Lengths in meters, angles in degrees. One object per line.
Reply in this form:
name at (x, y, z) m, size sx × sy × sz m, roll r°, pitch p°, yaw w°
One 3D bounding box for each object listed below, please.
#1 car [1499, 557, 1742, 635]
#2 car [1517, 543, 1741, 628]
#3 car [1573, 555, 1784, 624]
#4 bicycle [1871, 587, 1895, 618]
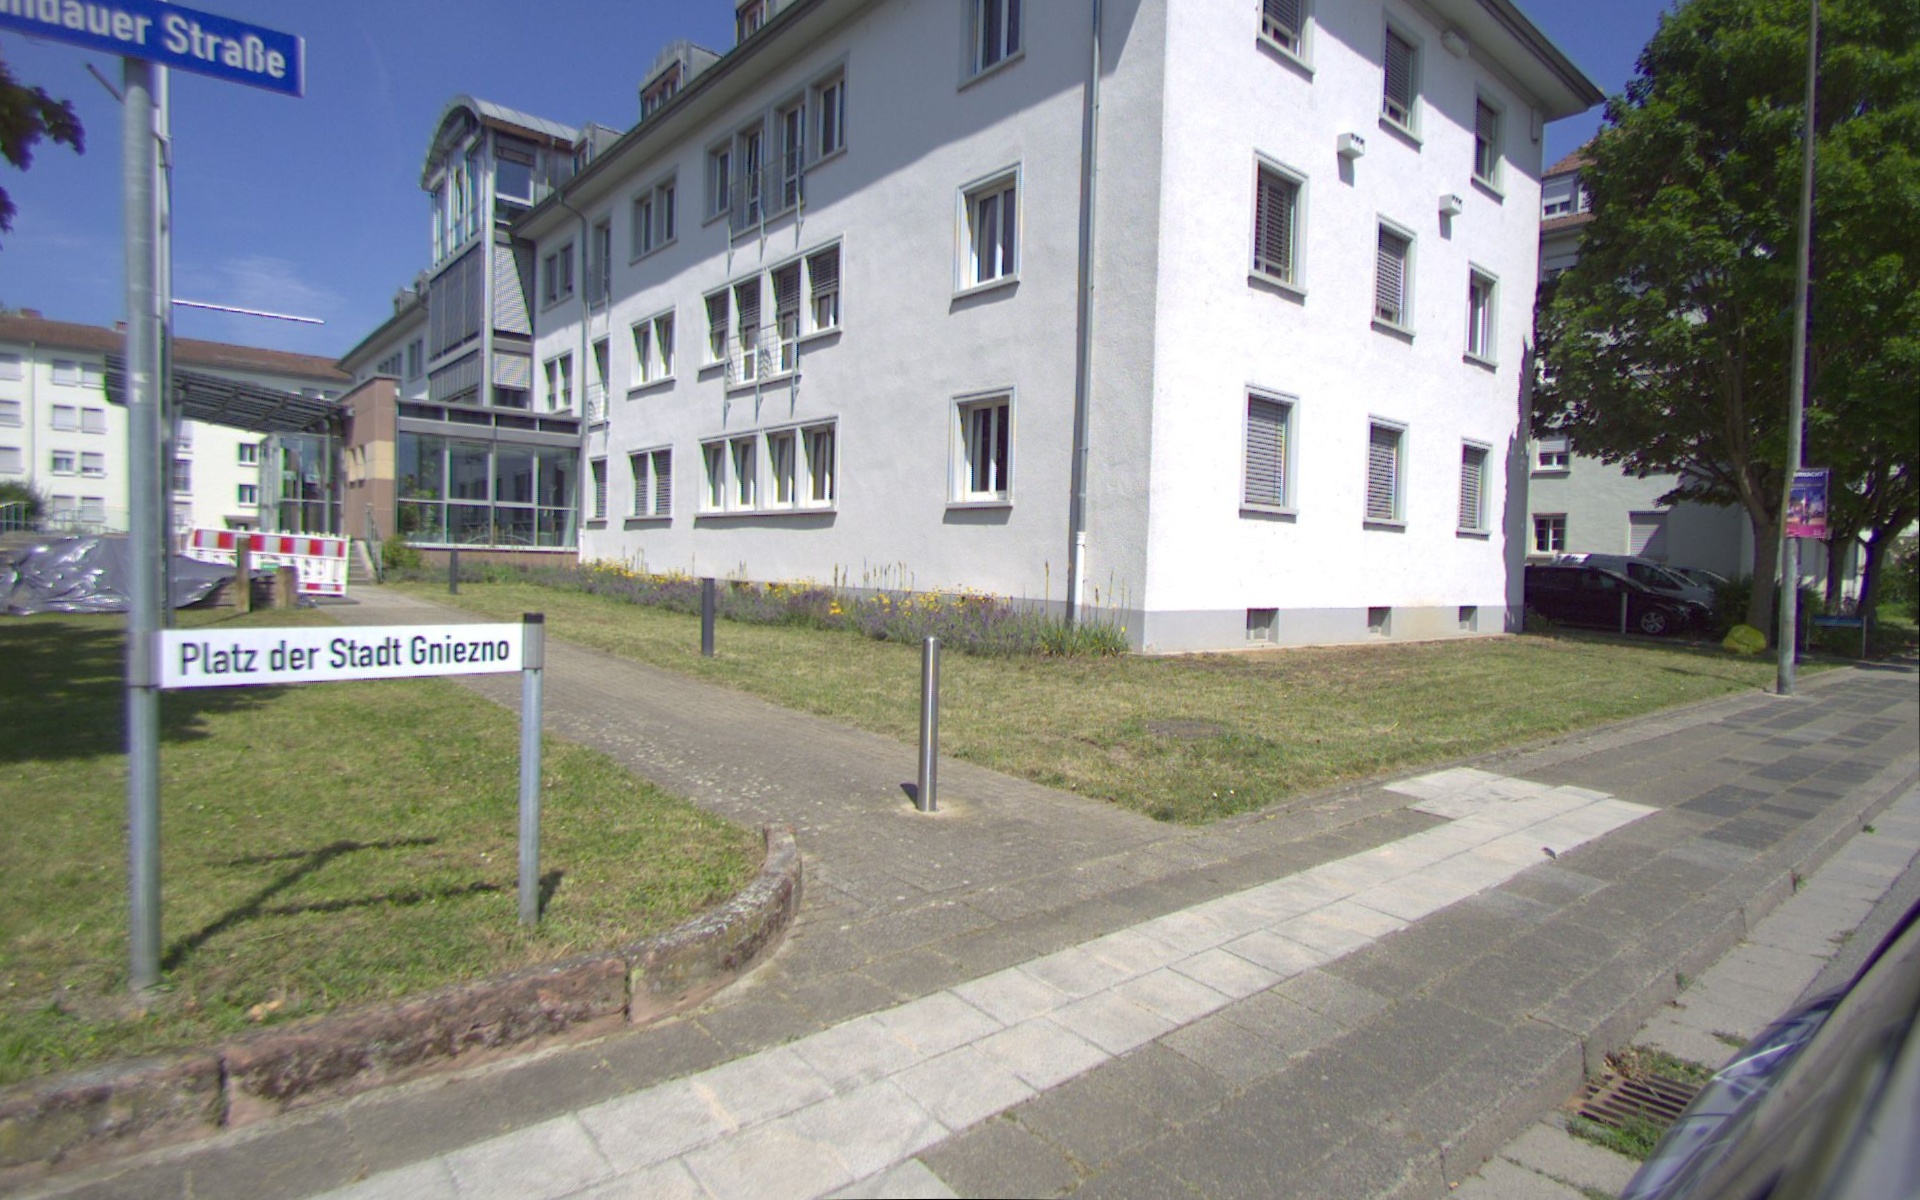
car at (15.411, -0.172, 23.801) m, size 1.966 × 1.452 × 4.364 m, roll 0°, pitch 5°, yaw -42°
car at (17.055, -0.434, 25.976) m, size 1.966 × 1.807 × 4.364 m, roll 0°, pitch 5°, yaw -42°
car at (19.767, -0.339, 27.997) m, size 1.966 × 1.544 × 4.364 m, roll 0°, pitch 5°, yaw -42°
bicycle at (33.188, 0.075, 36.387) m, size 1.495 × 1.069 × 0.407 m, roll 0°, pitch 3°, yaw -40°
